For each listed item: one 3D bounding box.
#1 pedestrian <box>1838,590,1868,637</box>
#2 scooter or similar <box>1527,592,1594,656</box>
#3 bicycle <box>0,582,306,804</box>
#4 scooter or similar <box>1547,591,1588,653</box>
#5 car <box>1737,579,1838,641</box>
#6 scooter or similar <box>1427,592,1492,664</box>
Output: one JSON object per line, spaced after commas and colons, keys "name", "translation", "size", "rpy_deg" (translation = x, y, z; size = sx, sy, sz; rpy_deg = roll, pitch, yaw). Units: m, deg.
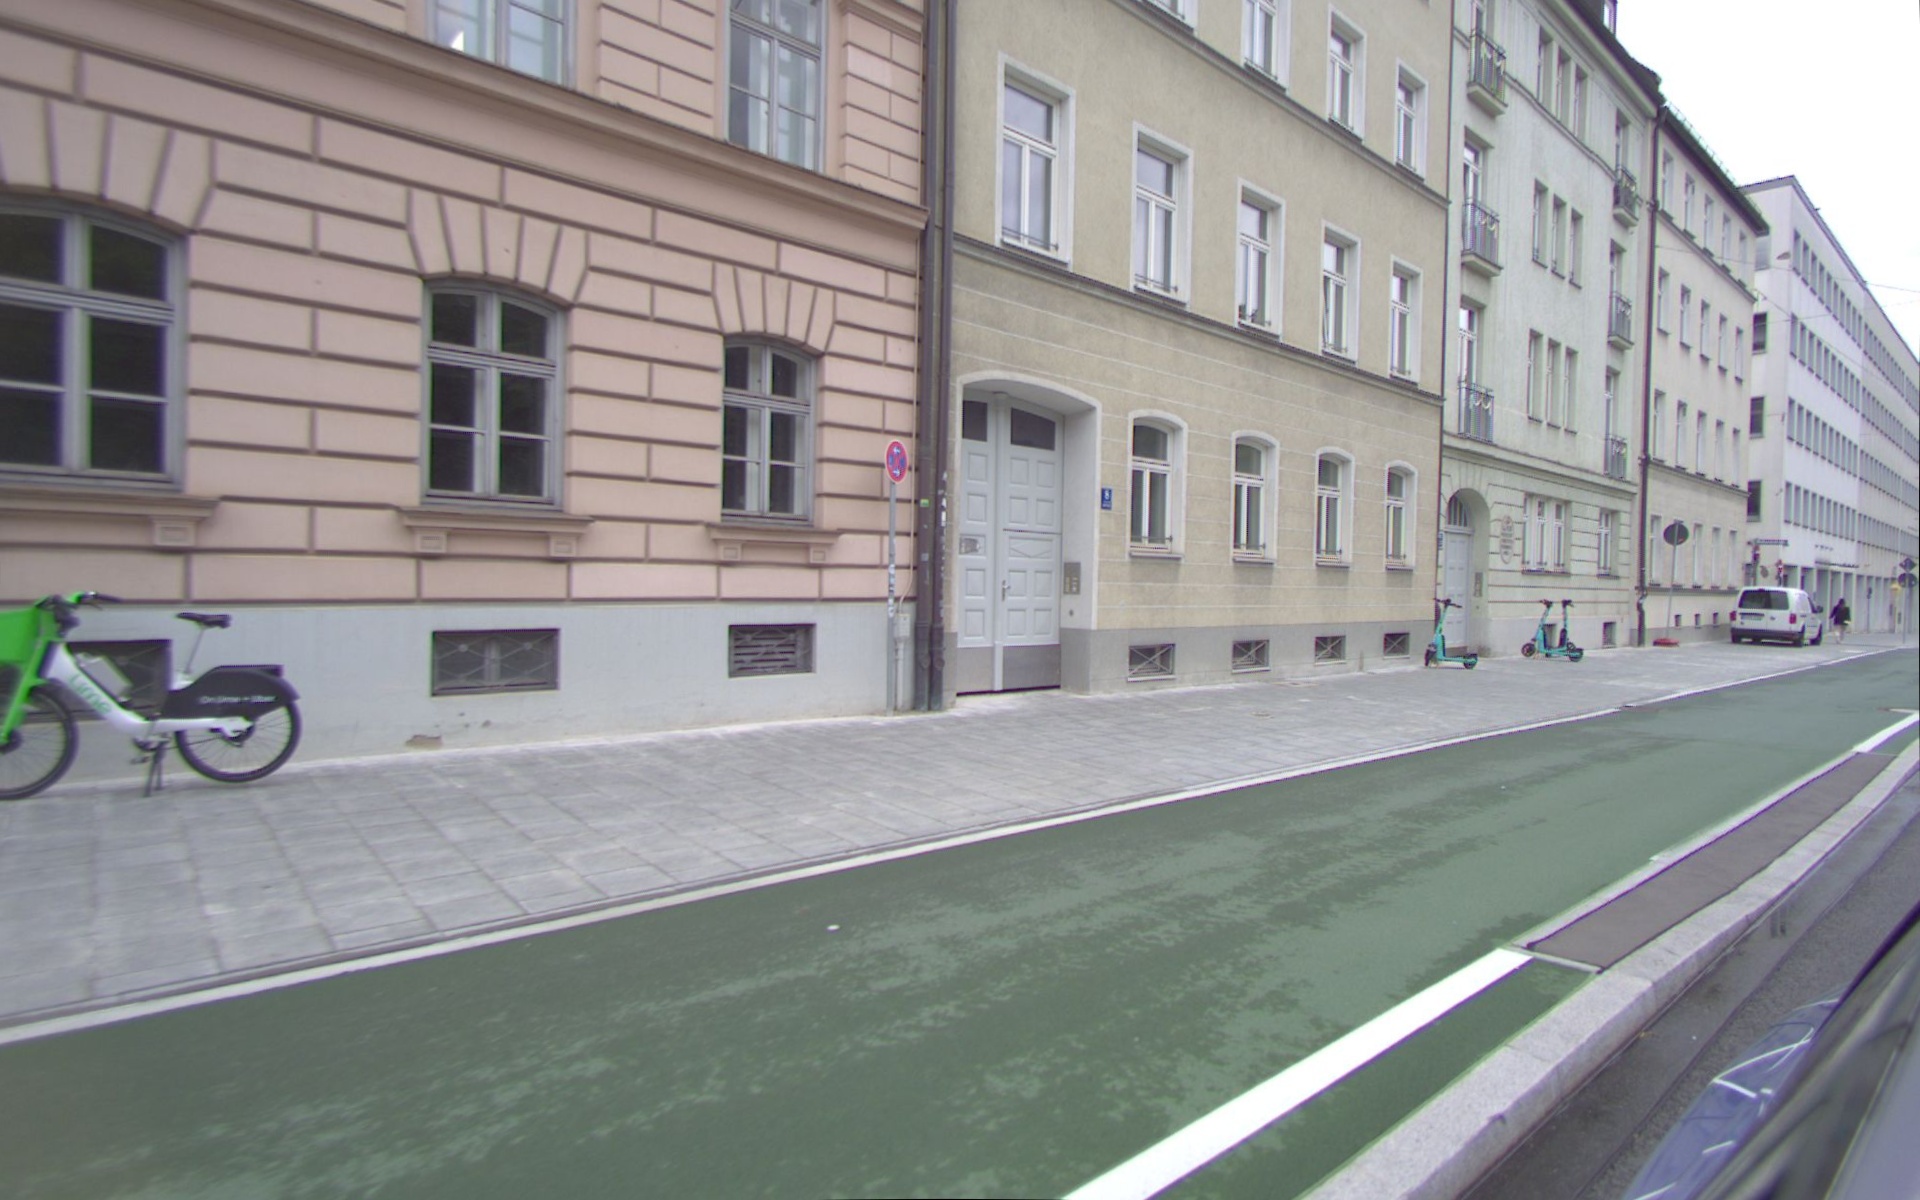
{"name": "pedestrian", "translation": [32.038, 0.476, 36.309], "size": [0.724, 1.656, 0.666], "rpy_deg": [1, 2, -41]}
{"name": "scooter or similar", "translation": [12.441, 0.495, 20.986], "size": [1.104, 1.246, 0.246], "rpy_deg": [3, 2, 16]}
{"name": "bicycle", "translation": [-4.833, 0.507, 5.864], "size": [1.695, 1.188, 0.428], "rpy_deg": [1, 1, -24]}
{"name": "scooter or similar", "translation": [13.160, 0.462, 21.921], "size": [1.100, 1.288, 0.387], "rpy_deg": [0, 3, -42]}
{"name": "car", "translation": [26.133, 0.286, 31.919], "size": [4.357, 1.771, 1.737], "rpy_deg": [1, 2, -41]}
{"name": "scooter or similar", "translation": [8.843, 0.495, 17.920], "size": [1.096, 1.246, 0.248], "rpy_deg": [1, 2, -15]}
